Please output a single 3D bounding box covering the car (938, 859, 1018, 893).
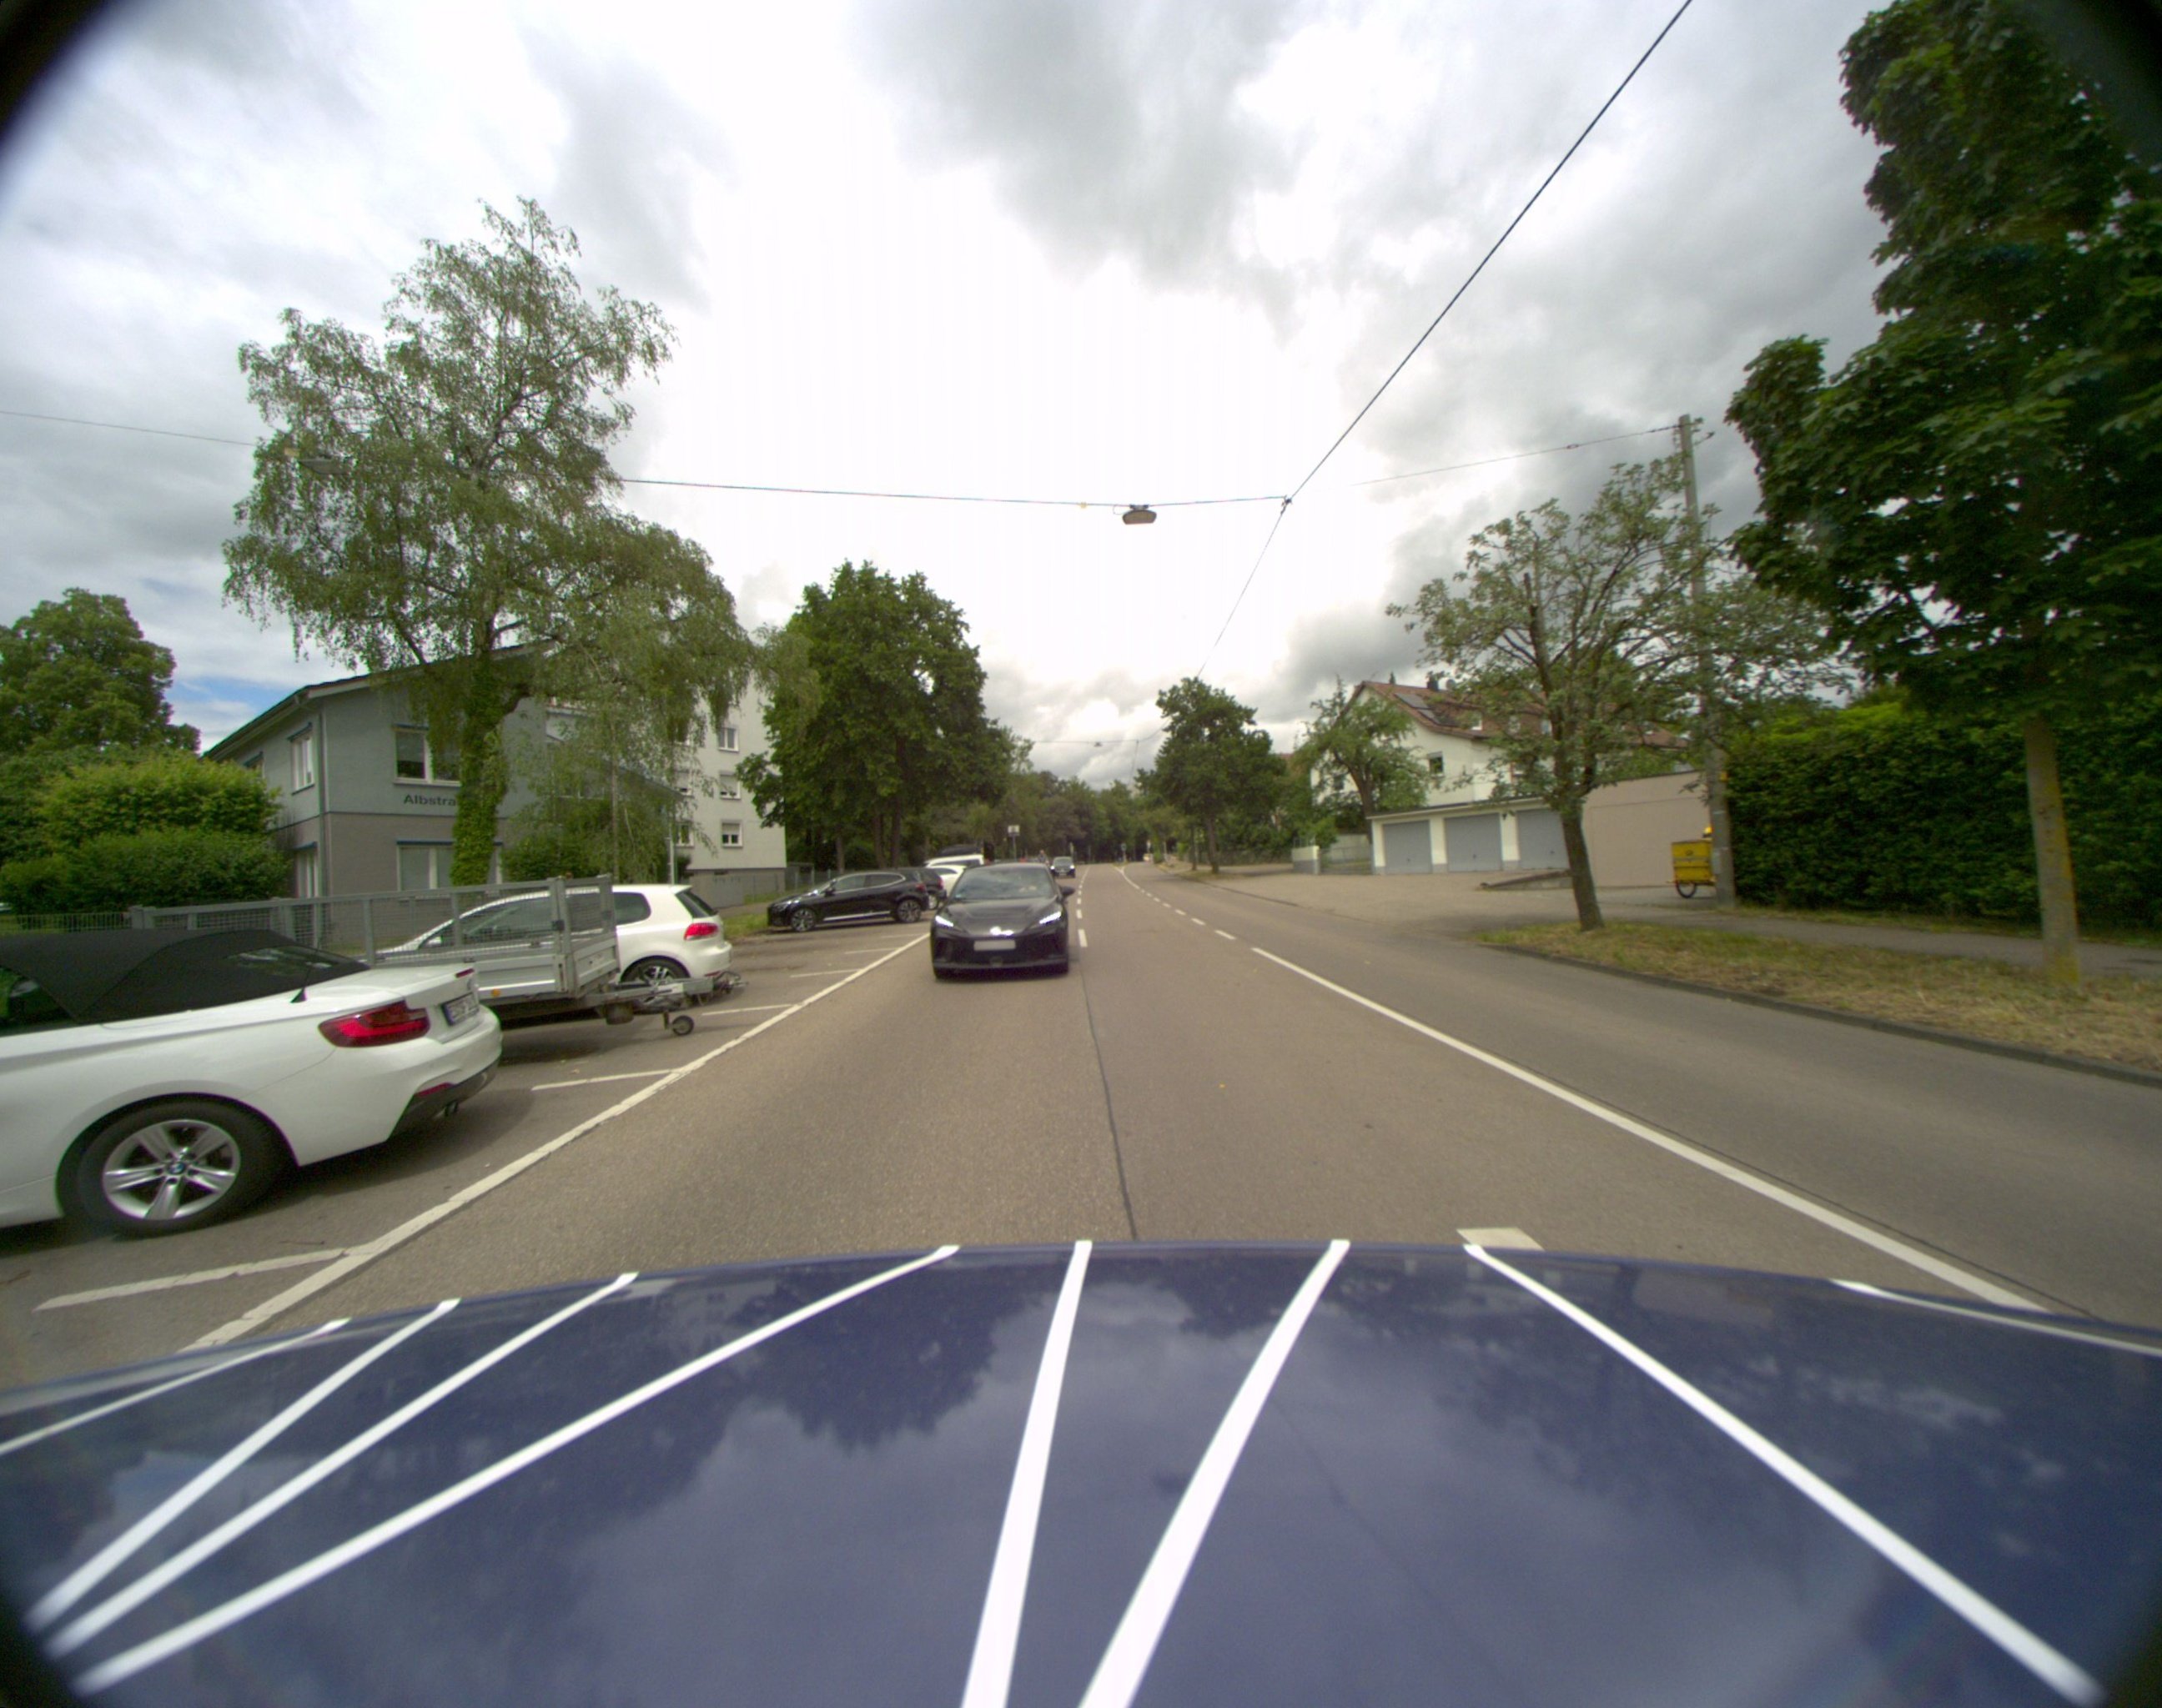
[{"bbox_3d":[-5.340,1.119,39.321,3.859,1.426,1.653,-4,1,-13],"label":"car"}]

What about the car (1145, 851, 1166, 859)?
[{"bbox_3d":[15.164,0.252,154.479,4.006,1.401,1.796,-3,0,-35],"label":"car"}]

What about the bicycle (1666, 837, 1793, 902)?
[{"bbox_3d":[13.525,0.305,15.840,2.624,1.198,0.846,-3,-1,-22],"label":"bicycle"}]

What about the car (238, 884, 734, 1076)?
[{"bbox_3d":[-6.261,1.243,8.647,4.003,1.455,1.788,-4,1,-21],"label":"car"}]

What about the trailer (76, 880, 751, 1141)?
[{"bbox_3d":[-5.173,1.120,6.596,4.002,1.543,1.656,-3,0,-17],"label":"trailer"}]

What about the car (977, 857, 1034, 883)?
[{"bbox_3d":[-5.616,1.178,56.669,3.860,1.603,1.652,-4,1,-19],"label":"car"}]

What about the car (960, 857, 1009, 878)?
[{"bbox_3d":[-8.407,1.196,66.046,3.860,1.549,1.652,-4,1,-19],"label":"car"}]

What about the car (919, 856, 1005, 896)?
[{"bbox_3d":[-5.743,1.028,36.506,3.859,1.634,1.851,-4,1,-13],"label":"car"}]

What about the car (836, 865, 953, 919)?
[{"bbox_3d":[-6.145,1.207,25.013,3.516,1.455,1.713,-4,1,-19],"label":"car"}]

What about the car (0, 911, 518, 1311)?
[{"bbox_3d":[-5.499,1.235,3.745,4.004,1.455,1.847,-4,1,-25],"label":"car"}]

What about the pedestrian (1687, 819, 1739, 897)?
[{"bbox_3d":[13.978,0.083,16.814,0.643,1.665,0.601,-3,1,-21],"label":"pedestrian"}]

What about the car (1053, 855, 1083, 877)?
[{"bbox_3d":[-0.899,0.791,53.391,1.861,1.366,4.076,-3,0,2],"label":"car"}]

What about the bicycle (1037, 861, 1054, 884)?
[{"bbox_3d":[-1.945,0.991,41.673,0.648,1.230,1.875,-2,0,-10],"label":"bicycle"}]

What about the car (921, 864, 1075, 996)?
[{"bbox_3d":[-1.038,0.965,11.296,1.813,1.484,3.793,-2,1,0],"label":"car"}]

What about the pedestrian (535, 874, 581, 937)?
[{"bbox_3d":[-13.138,1.284,19.110,0.694,1.495,0.777,-3,1,-19],"label":"pedestrian"}]

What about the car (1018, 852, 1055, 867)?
[{"bbox_3d":[-4.848,0.612,82.313,3.857,1.379,1.654,-4,1,-7],"label":"car"}]

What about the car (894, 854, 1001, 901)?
[{"bbox_3d":[-5.875,0.995,33.462,4.226,1.748,1.856,-4,1,-24],"label":"car"}]

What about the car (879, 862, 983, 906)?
[{"bbox_3d":[-5.966,1.175,30.288,3.859,1.430,1.714,-4,1,-13],"label":"car"}]

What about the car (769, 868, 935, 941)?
[{"bbox_3d":[-5.950,1.239,19.731,3.860,1.426,1.712,-4,3,-24],"label":"car"}]

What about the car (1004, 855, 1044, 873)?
[{"bbox_3d":[-5.855,0.984,77.653,3.857,1.553,1.654,-4,1,-7],"label":"car"}]

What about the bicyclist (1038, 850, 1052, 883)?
[{"bbox_3d":[-1.955,0.654,41.647,0.648,1.769,0.627,-2,1,-11],"label":"bicyclist"}]
